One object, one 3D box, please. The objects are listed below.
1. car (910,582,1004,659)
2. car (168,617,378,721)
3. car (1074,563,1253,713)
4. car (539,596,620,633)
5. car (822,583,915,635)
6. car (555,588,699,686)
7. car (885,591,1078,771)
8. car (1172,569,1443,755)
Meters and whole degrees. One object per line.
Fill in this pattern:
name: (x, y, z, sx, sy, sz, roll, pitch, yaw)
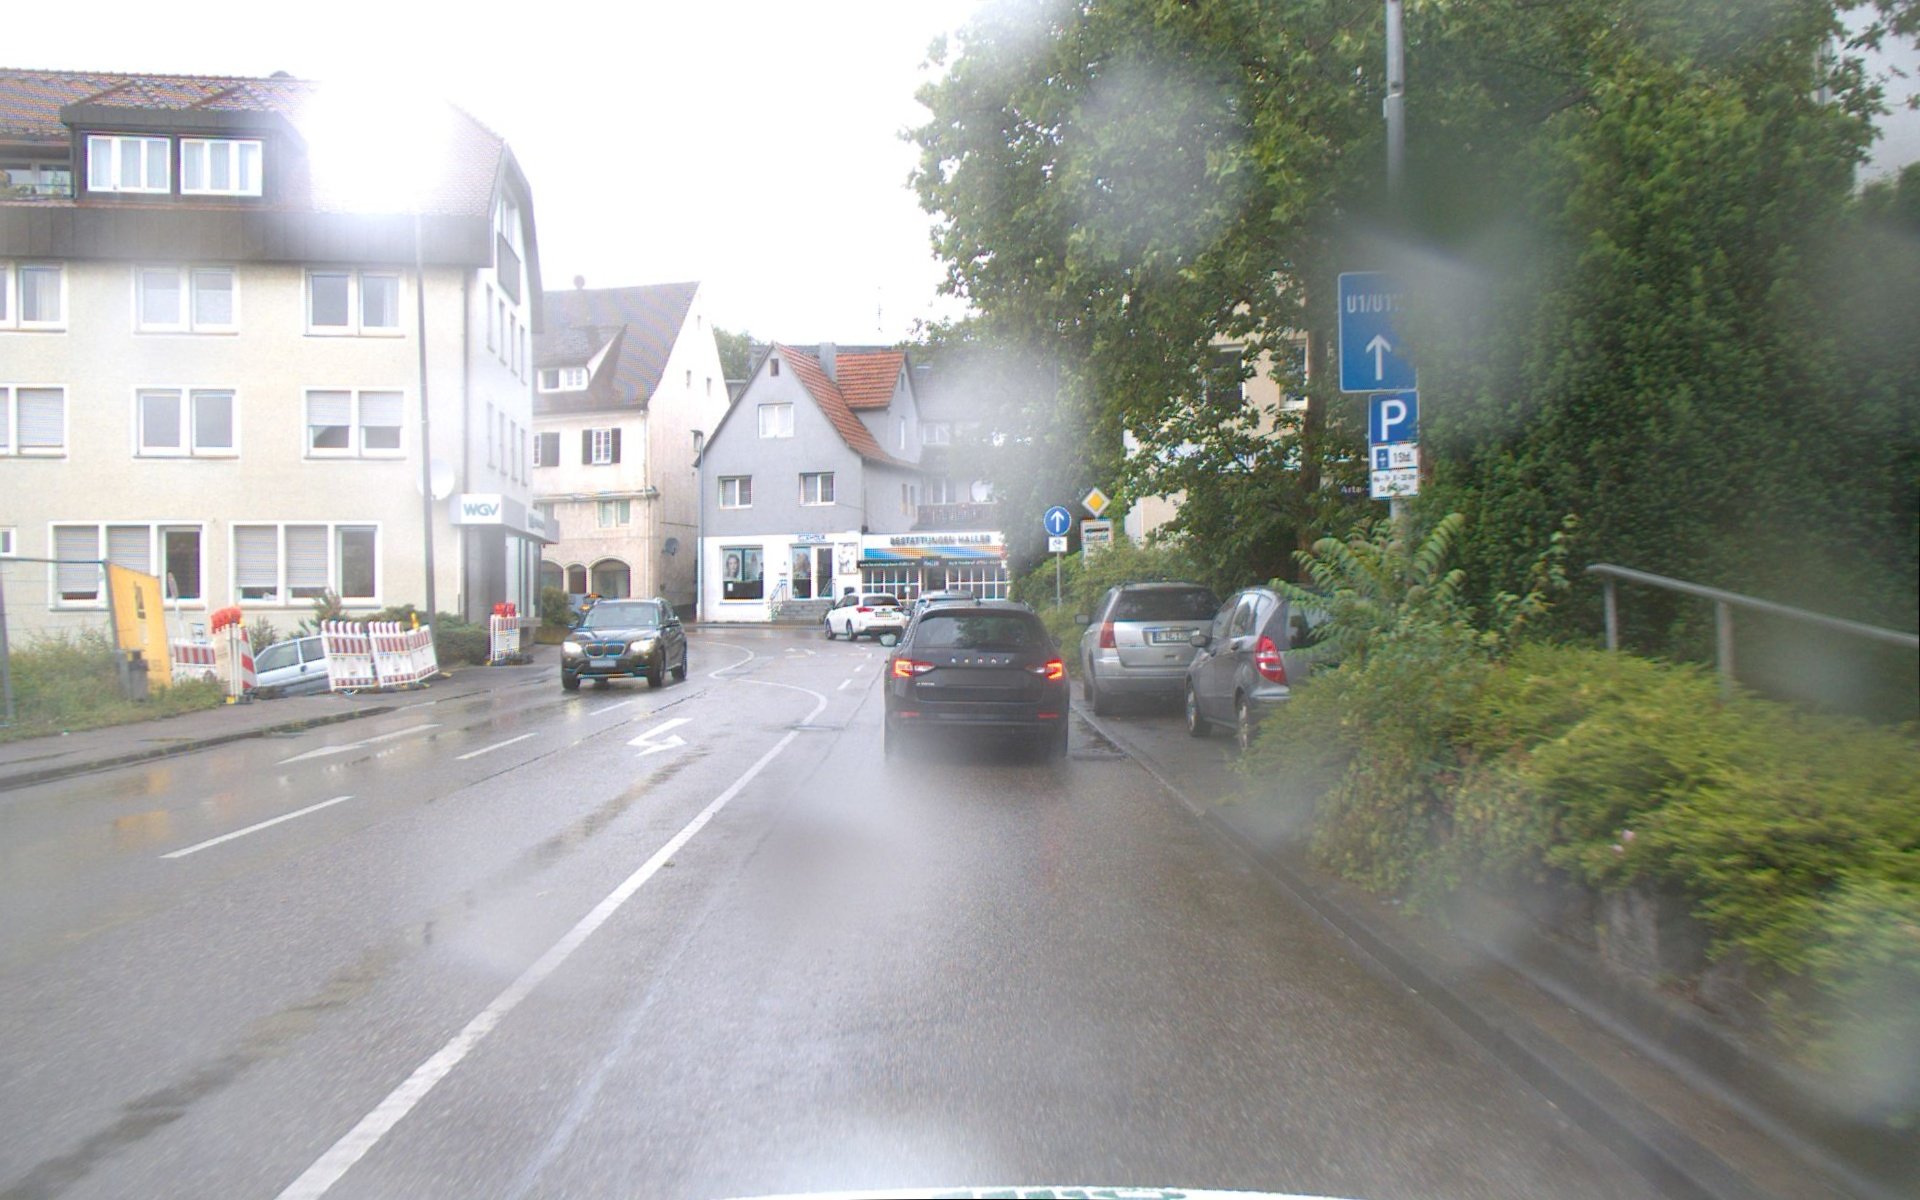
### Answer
car: (-0.006, 0.410, 37.429, 1.751, 1.543, 4.244, -2, 1, 5)
car: (-13.650, 1.344, 33.046, 3.439, 1.413, 1.647, -9, 3, -10)
car: (2.693, 0.444, 22.946, 1.891, 1.811, 4.734, -2, 1, 1)
car: (-15.760, 0.582, 68.404, 3.703, 1.385, 1.513, 1, 2, 44)
car: (-2.933, 0.248, 52.193, 1.760, 1.491, 4.139, -1, 2, -20)
car: (-5.968, 0.619, 30.105, 1.779, 1.599, 4.274, -2, 0, -1)
car: (0.170, 0.702, 16.776, 1.697, 1.475, 4.241, -1, 2, -1)
car: (3.345, 0.530, 16.655, 1.676, 1.600, 3.912, -2, 1, -3)
